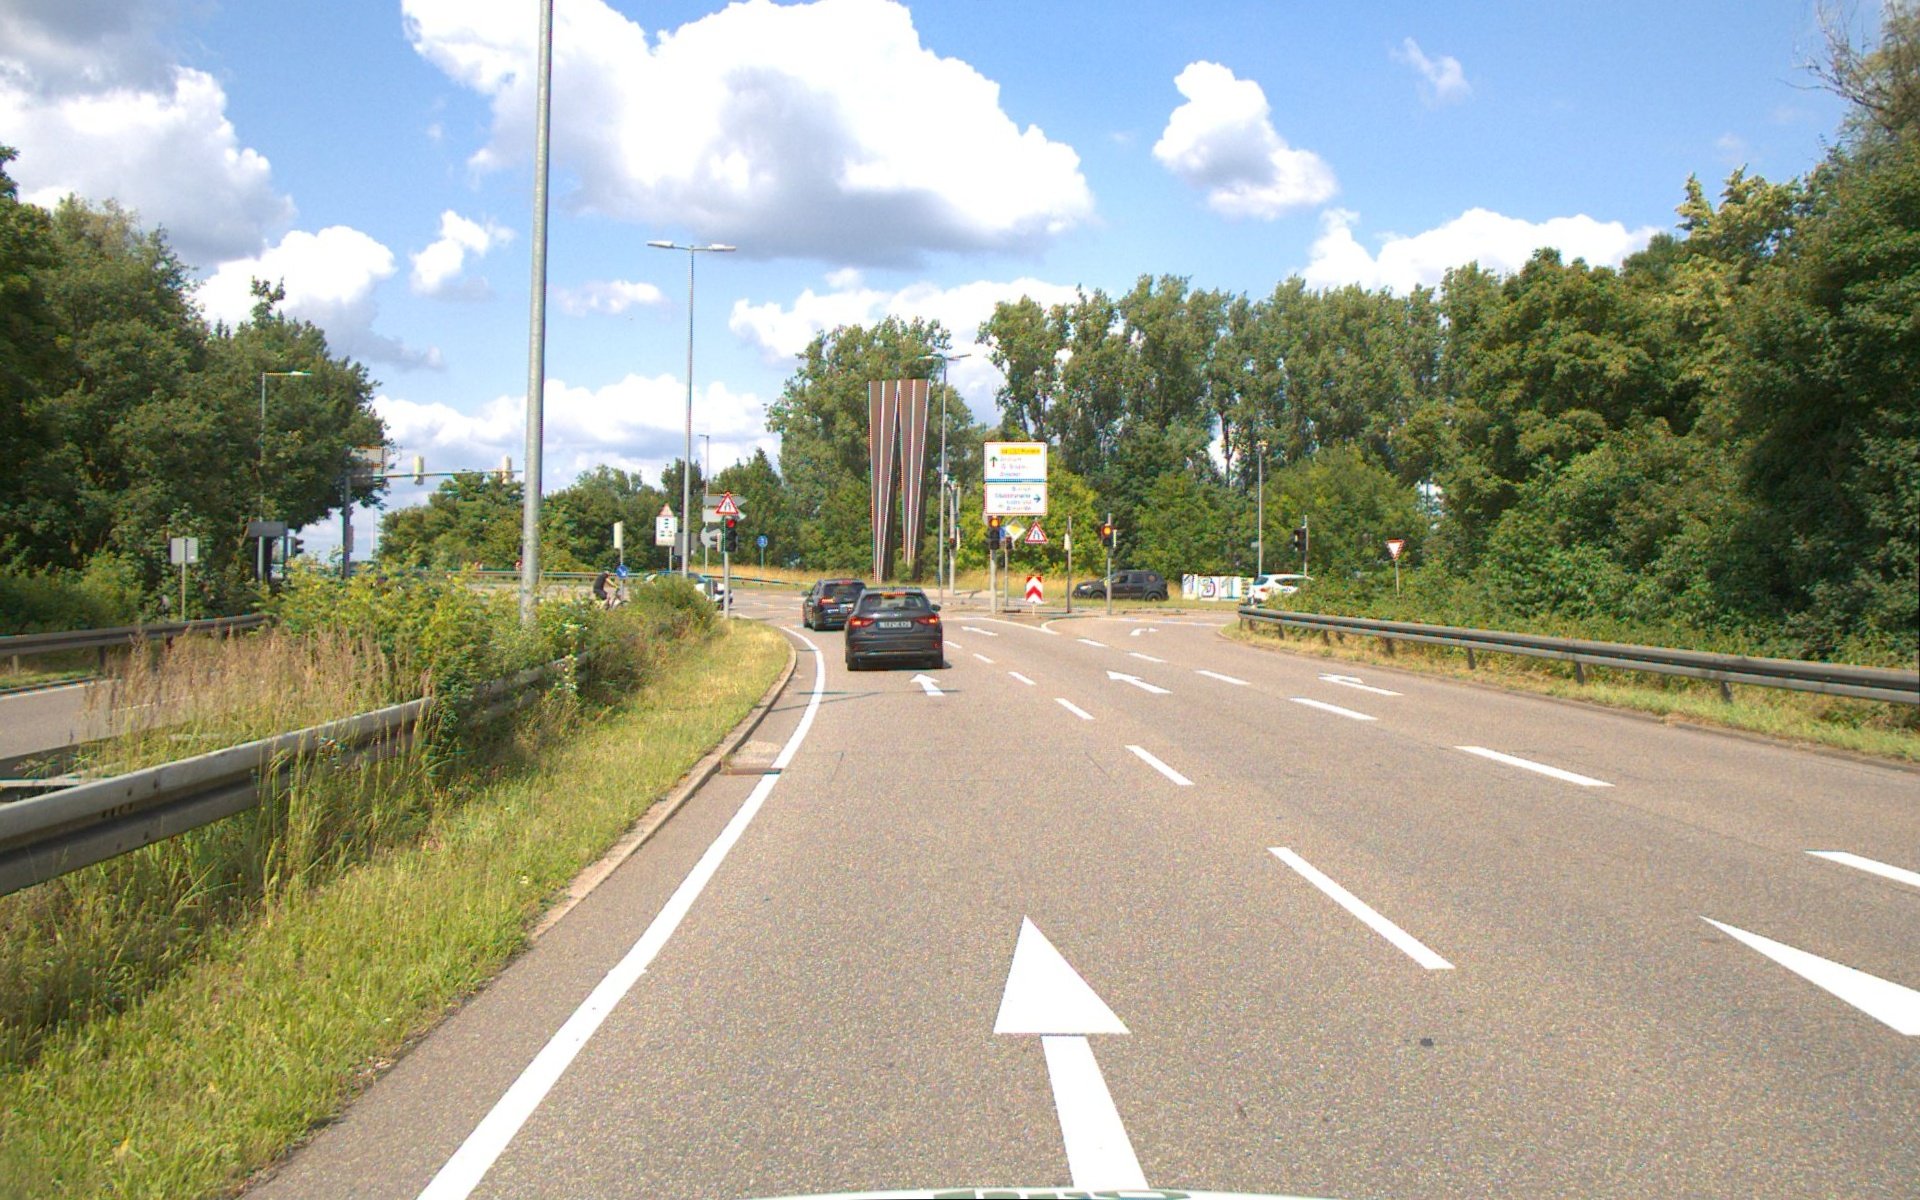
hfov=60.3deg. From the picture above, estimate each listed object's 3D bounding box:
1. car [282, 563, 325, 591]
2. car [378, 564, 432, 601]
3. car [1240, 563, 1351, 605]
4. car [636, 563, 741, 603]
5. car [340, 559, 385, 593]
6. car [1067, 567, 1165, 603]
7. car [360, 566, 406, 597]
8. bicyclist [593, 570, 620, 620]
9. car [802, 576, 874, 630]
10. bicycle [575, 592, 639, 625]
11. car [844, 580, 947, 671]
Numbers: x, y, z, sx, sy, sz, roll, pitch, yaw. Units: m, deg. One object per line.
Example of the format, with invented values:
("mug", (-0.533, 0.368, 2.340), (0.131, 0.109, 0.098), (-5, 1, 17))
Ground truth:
("car", (-41.003, -1.457, 103.234), (1.825, 1.735, 4.279), (-1, 1, -32))
("car", (-25.830, -0.783, 76.931), (1.817, 1.646, 3.965), (-1, 0, -27))
("car", (13.617, -0.636, 67.209), (3.950, 1.535, 1.952), (2, -1, -9))
("car", (-11.127, -0.712, 67.722), (3.955, 1.502, 1.735), (2, 0, 26))
("car", (-32.560, -1.310, 90.088), (1.821, 1.833, 4.289), (-1, 1, -27))
("car", (7.045, -0.684, 74.932), (4.187, 1.572, 1.734), (0, 1, -8))
("car", (-29.378, -0.957, 84.110), (1.711, 1.502, 4.011), (-1, 1, -27))
("bicyclist", (-11.324, -0.151, 53.012), (0.819, 1.587, 0.670), (0, 0, -13))
("car", (-3.635, 0.044, 48.949), (1.695, 1.448, 3.835), (-2, 1, -10))
("bicycle", (-11.314, 0.268, 53.017), (2.017, 1.041, 0.670), (0, 0, -13))
("car", (-1.237, 0.412, 30.116), (1.692, 1.428, 3.997), (-2, 1, -4))
